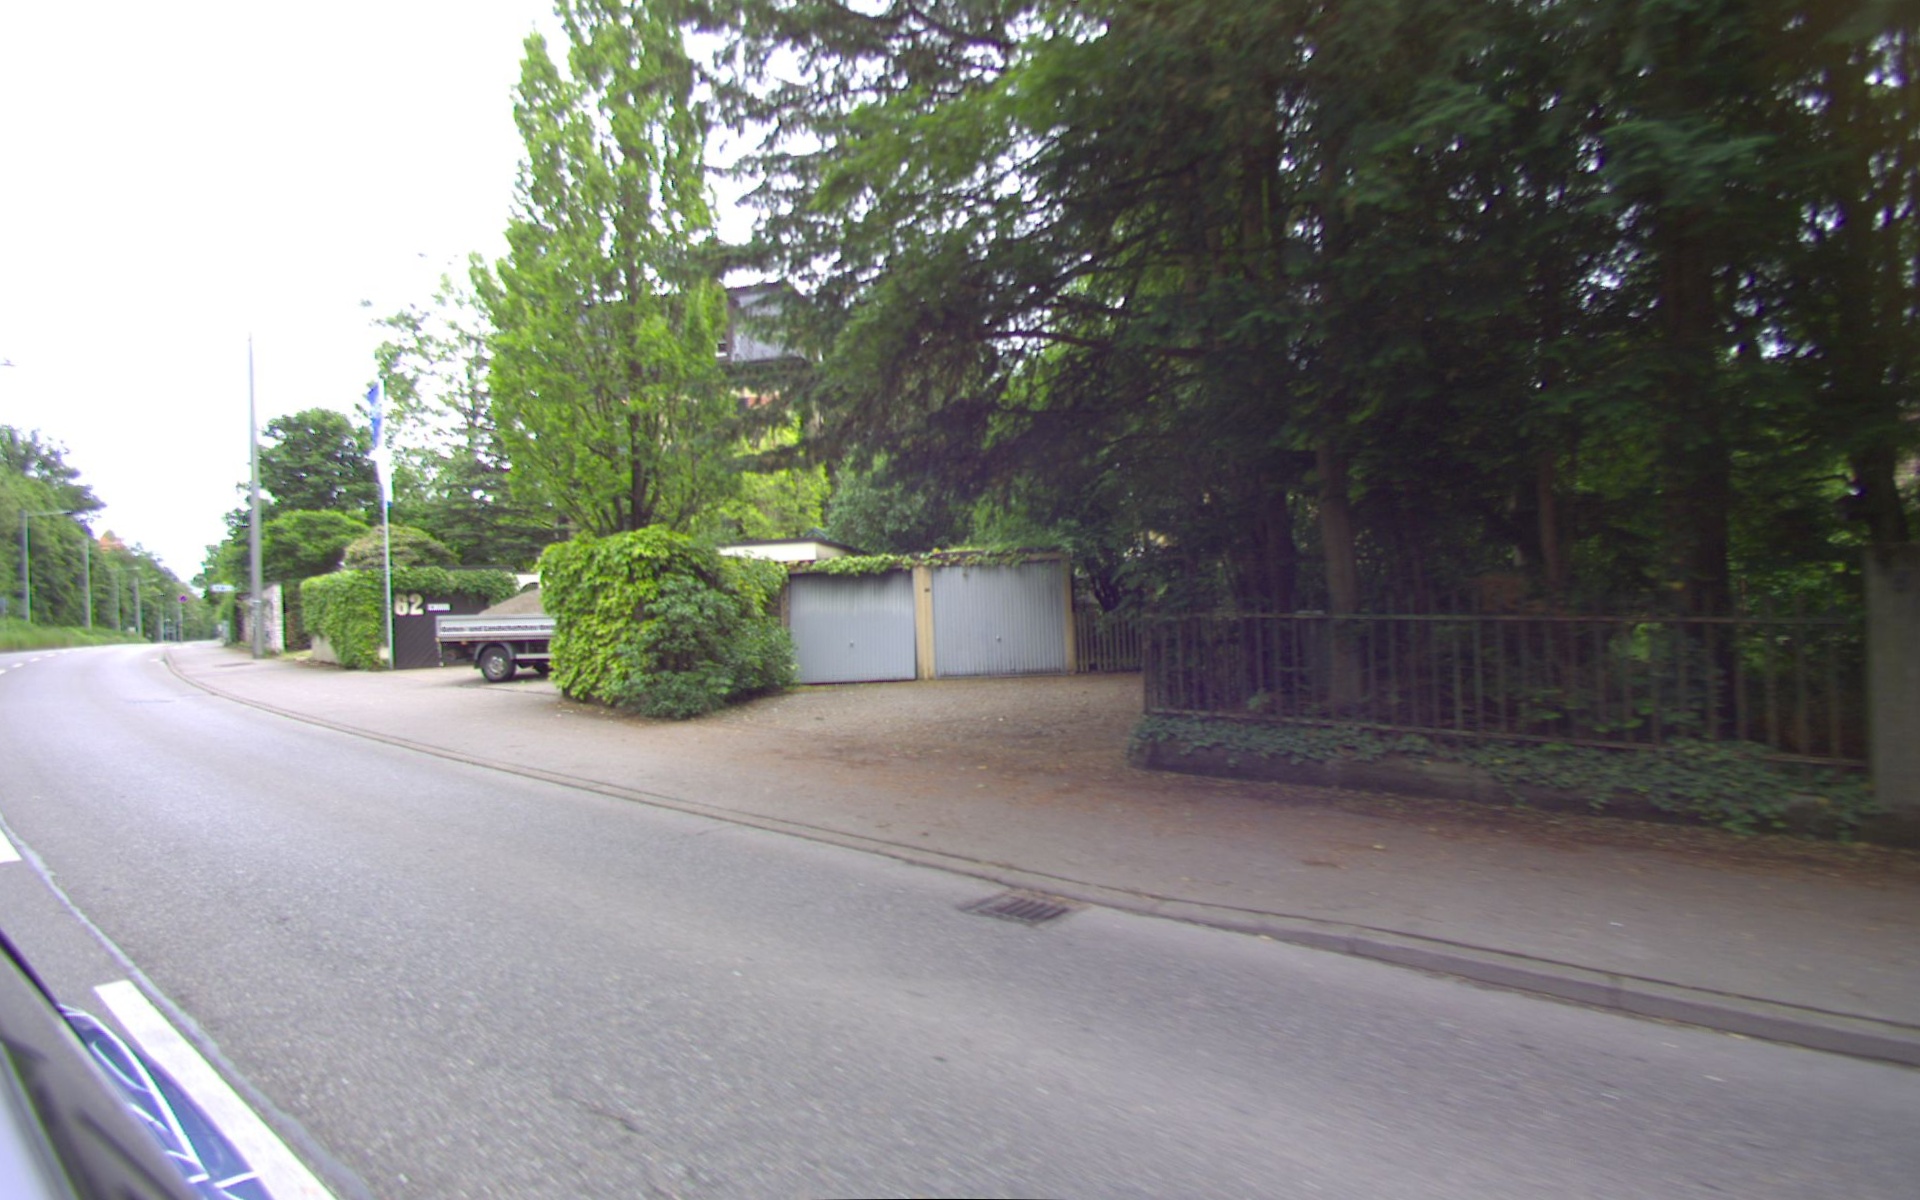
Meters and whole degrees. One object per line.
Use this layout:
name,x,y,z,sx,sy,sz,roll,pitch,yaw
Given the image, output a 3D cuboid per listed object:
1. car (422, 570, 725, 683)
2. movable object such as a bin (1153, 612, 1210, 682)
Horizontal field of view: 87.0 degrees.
car,-7.789,0.539,20.651,5.304,2.088,2.418,-1,0,11
movable object such as a bin,3.865,0.802,17.617,0.706,1.150,0.808,-1,1,33
